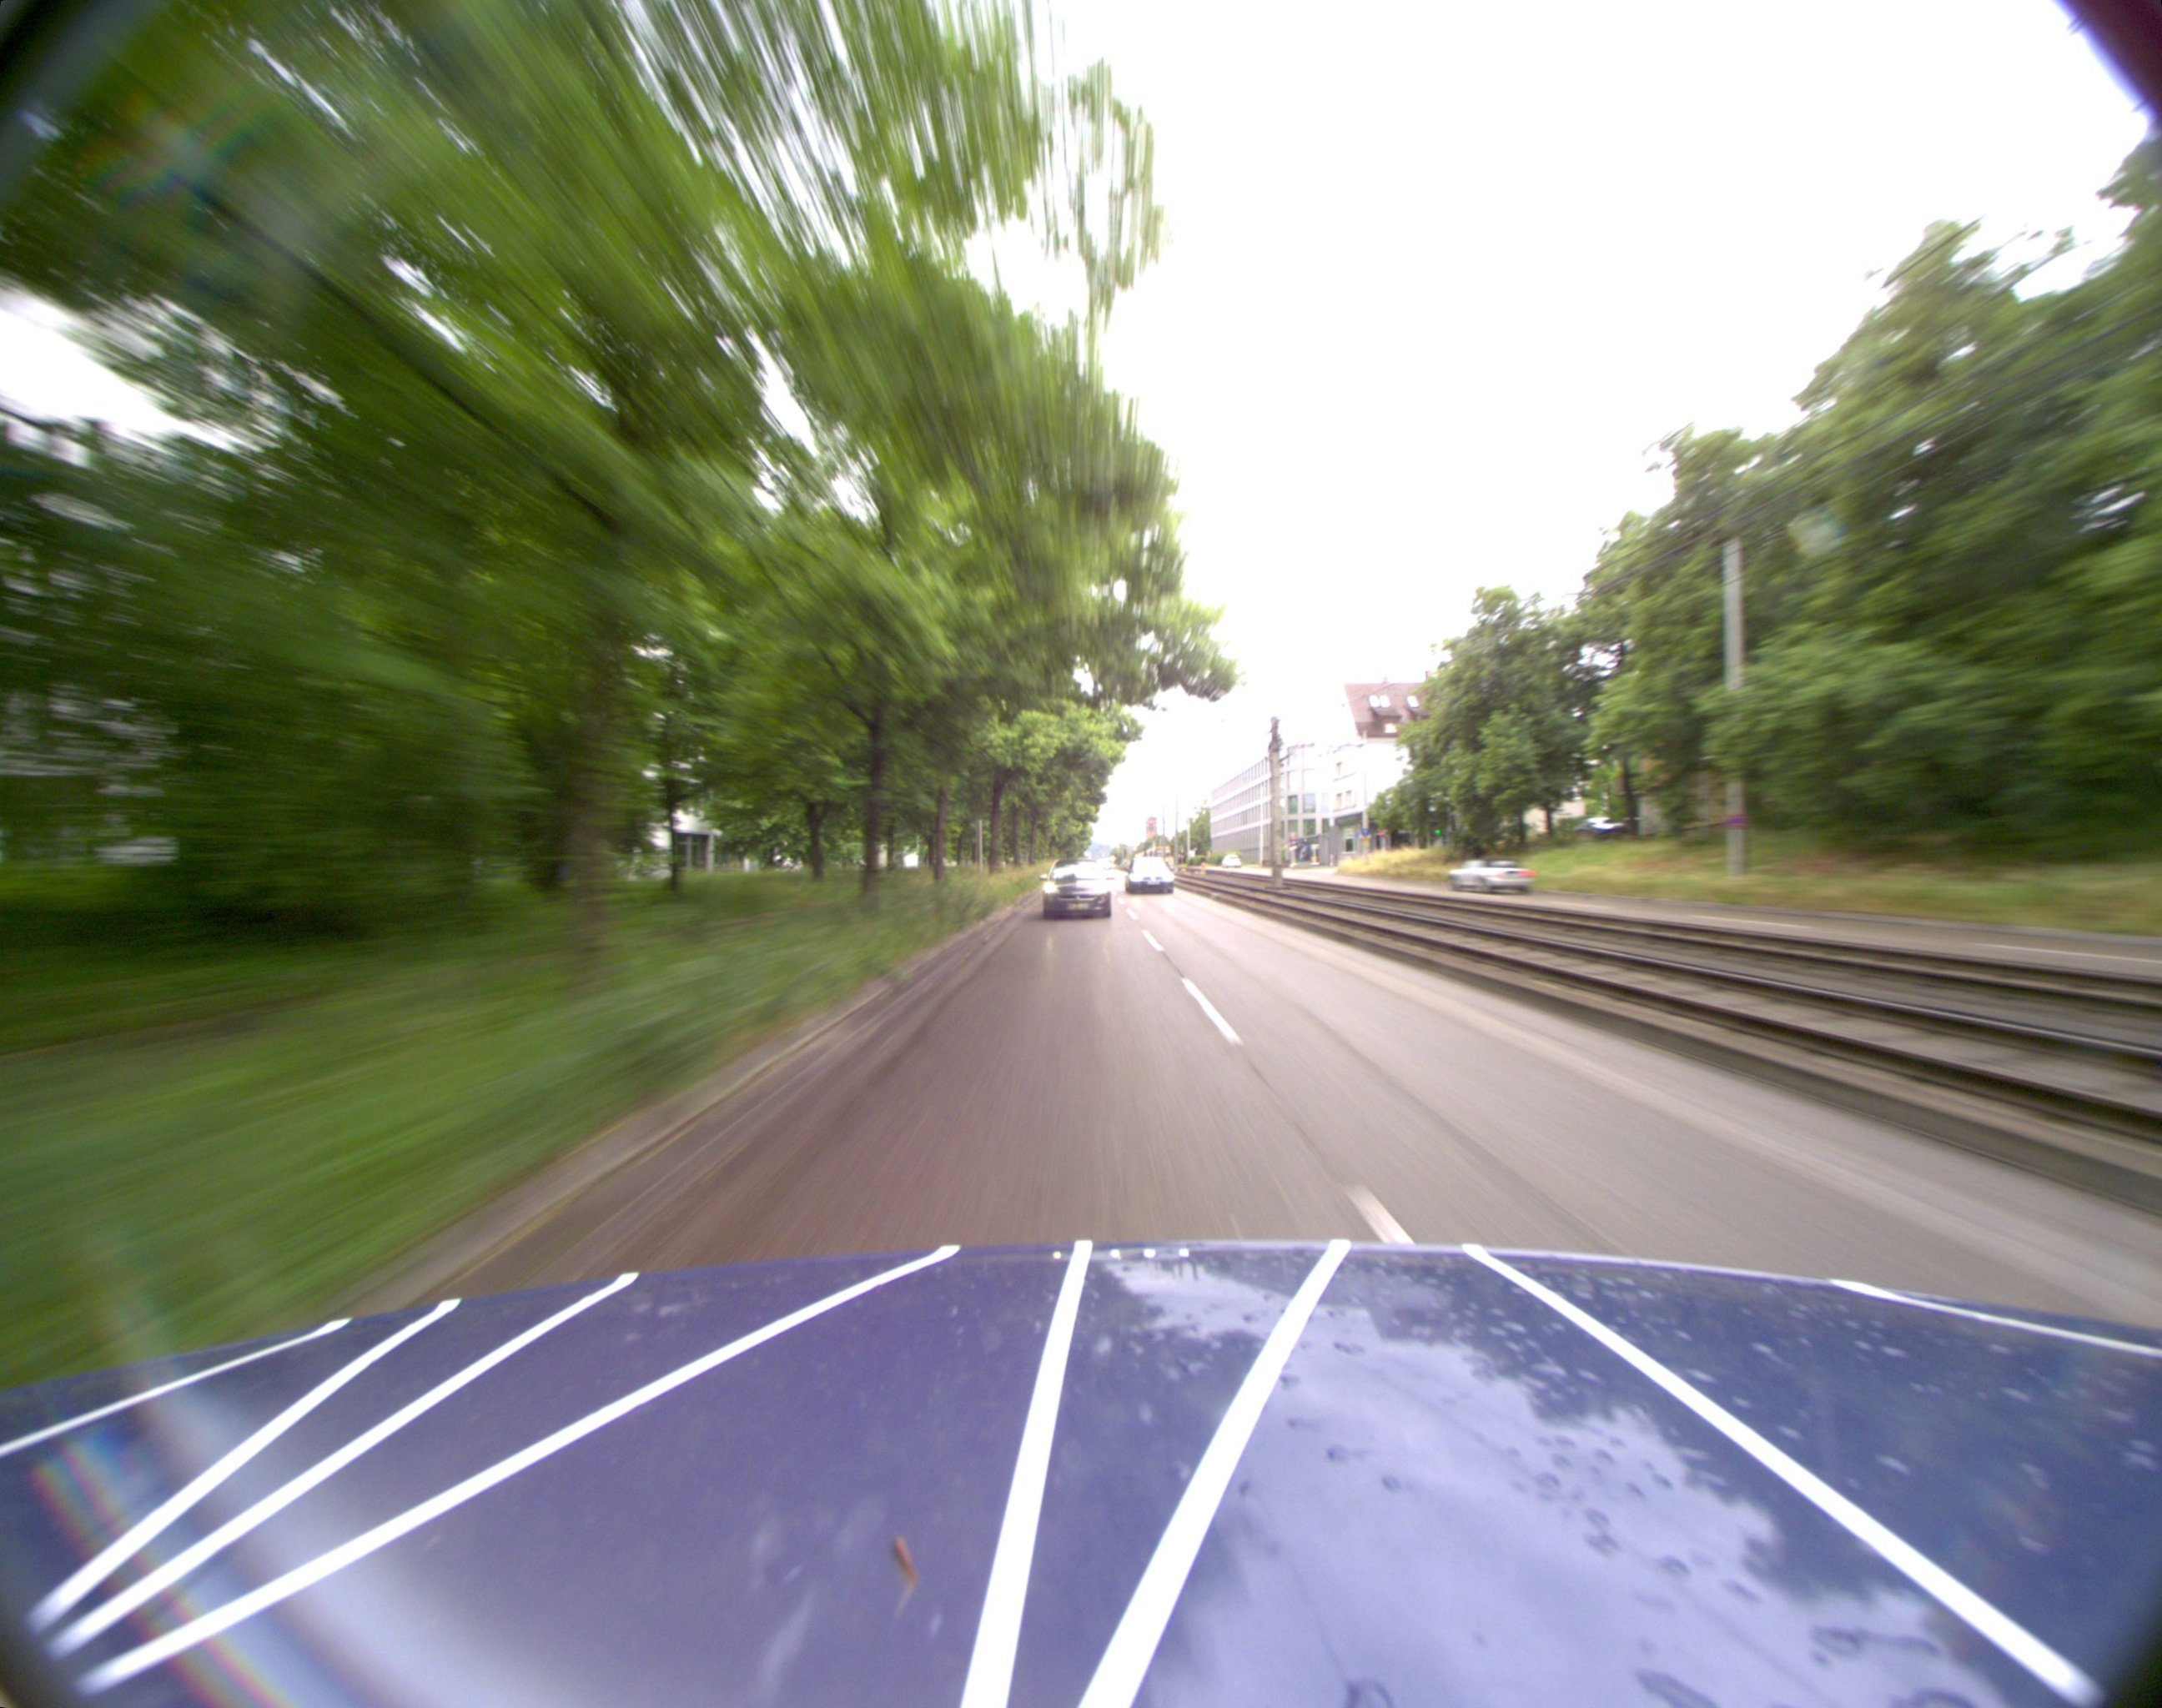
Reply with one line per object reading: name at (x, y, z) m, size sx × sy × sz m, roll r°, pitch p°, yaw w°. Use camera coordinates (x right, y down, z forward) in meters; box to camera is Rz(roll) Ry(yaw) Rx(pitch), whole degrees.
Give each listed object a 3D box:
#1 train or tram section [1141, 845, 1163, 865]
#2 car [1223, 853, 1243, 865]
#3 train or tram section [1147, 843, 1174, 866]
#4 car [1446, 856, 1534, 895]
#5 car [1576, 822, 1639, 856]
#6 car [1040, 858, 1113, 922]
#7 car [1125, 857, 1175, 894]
train or tram section at (14.255, 0.276, 153.909) m, size 2.975 × 3.788 × 19.100 m, roll -1°, pitch 0°, yaw 1°
car at (18.852, 0.613, 94.255) m, size 1.657 × 1.520 × 4.381 m, roll -1°, pitch 0°, yaw 1°
train or tram section at (13.901, 0.140, 134.593) m, size 2.975 × 3.788 × 19.522 m, roll -1°, pitch 0°, yaw 1°
car at (16.469, 0.834, 30.833) m, size 1.480 × 1.427 × 3.909 m, roll 1°, pitch 0°, yaw 1°
car at (32.350, -0.893, 46.842) m, size 1.963 × 2.002 × 4.222 m, roll -1°, pitch 0°, yaw 17°
car at (-0.051, 0.887, 20.507) m, size 1.698 × 1.439 × 4.420 m, roll -2°, pitch 0°, yaw 2°
car at (2.820, 0.849, 31.659) m, size 1.770 × 1.439 × 3.833 m, roll -1°, pitch 0°, yaw 1°
